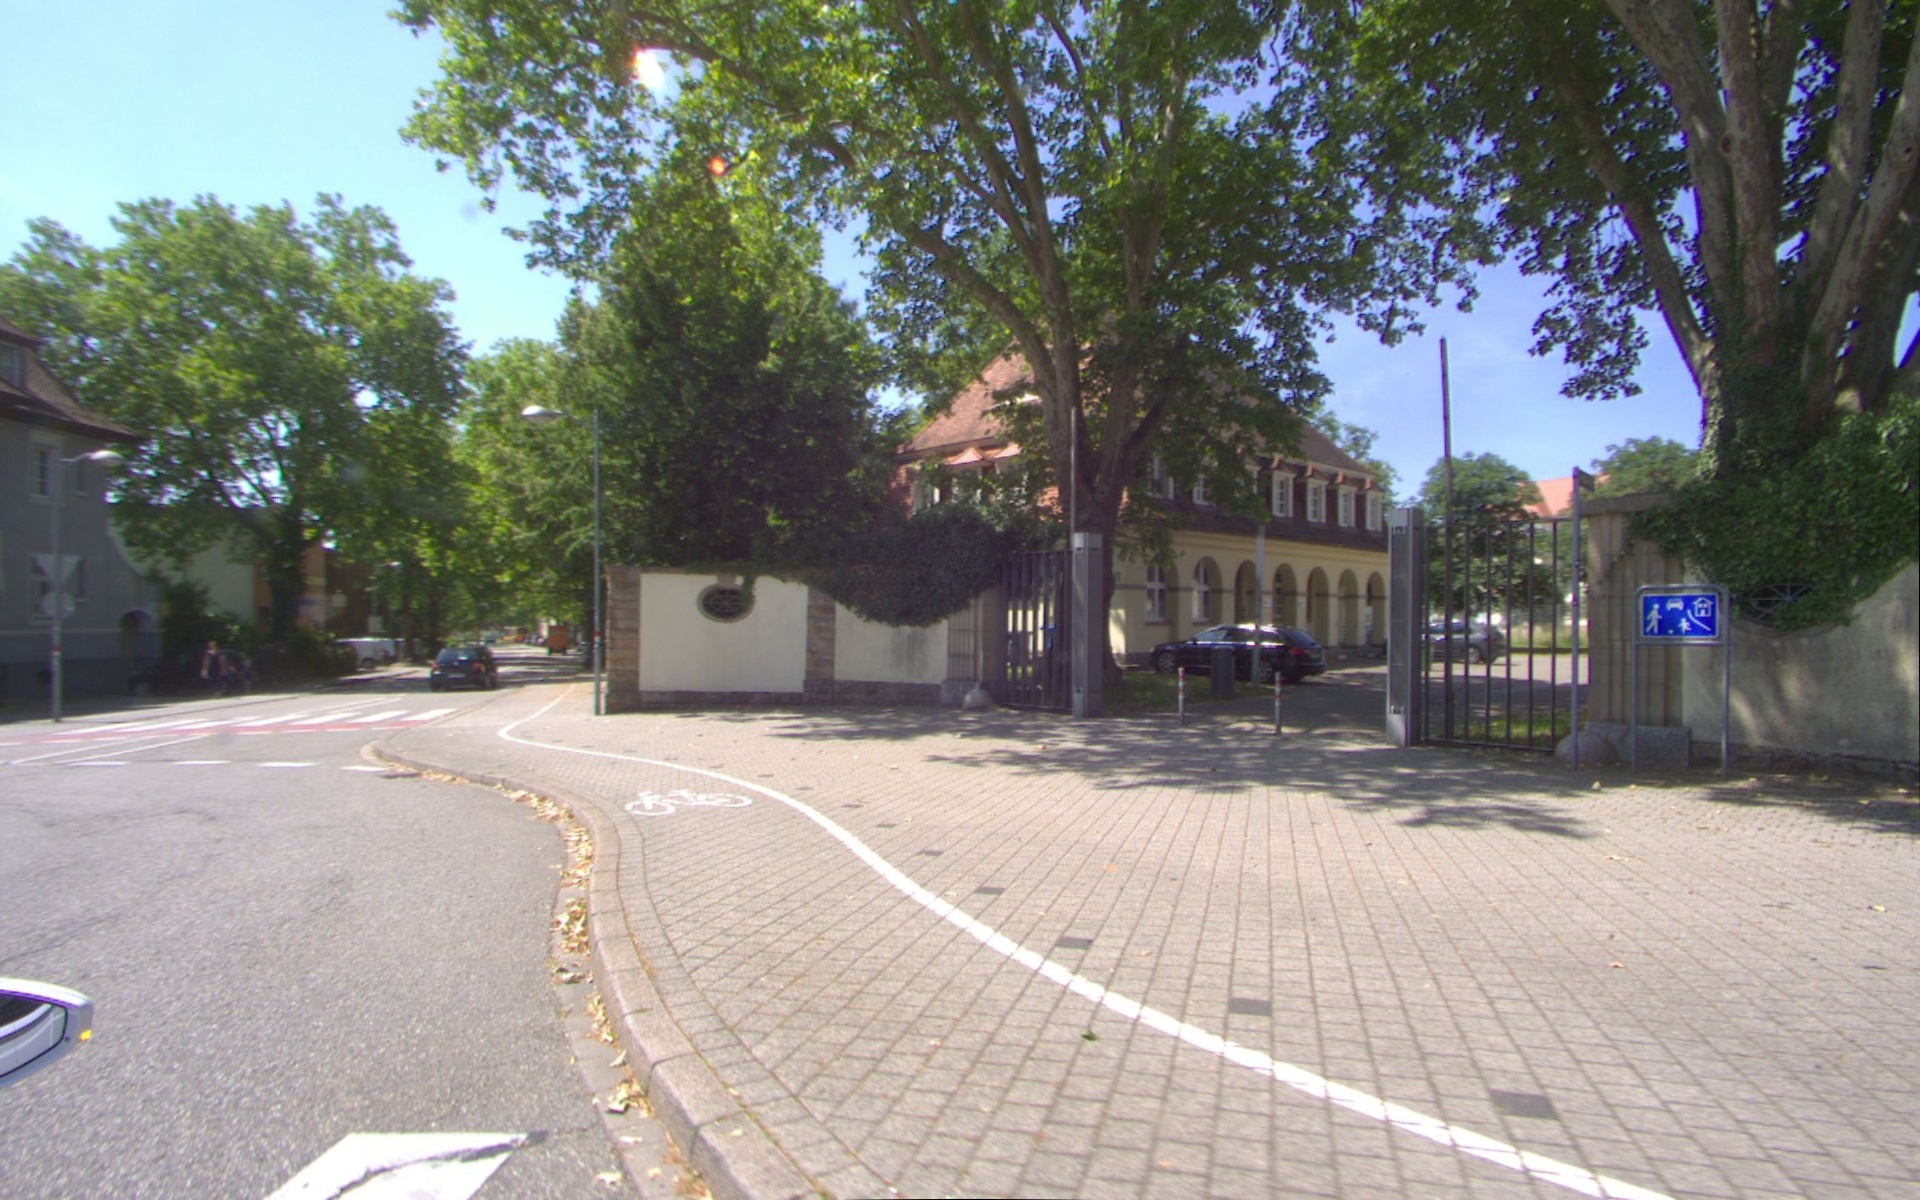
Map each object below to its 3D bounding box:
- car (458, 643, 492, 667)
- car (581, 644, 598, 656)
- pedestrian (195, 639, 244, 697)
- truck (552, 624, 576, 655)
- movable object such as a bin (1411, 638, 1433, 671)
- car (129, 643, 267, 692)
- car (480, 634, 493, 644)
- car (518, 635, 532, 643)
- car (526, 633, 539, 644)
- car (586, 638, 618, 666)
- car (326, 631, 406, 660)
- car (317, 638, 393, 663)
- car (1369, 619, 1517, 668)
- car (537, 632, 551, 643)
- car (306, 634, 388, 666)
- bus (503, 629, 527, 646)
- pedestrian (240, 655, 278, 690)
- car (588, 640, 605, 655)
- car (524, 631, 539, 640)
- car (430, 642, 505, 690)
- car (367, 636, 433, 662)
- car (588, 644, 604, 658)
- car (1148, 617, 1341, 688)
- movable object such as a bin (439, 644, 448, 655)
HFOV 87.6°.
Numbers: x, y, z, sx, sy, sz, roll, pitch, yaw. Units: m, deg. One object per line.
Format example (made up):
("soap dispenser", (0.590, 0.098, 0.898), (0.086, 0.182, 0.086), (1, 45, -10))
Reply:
("car", (-31.113, 3.508, 64.270), (1.746, 1.444, 4.380), (0, -2, -23))
("car", (-46.710, 6.253, 126.283), (1.744, 1.392, 3.718), (-1, -2, -25))
("pedestrian", (-22.993, 2.100, 31.101), (0.859, 1.764, 1.111), (0, -2, -14))
("truck", (-42.496, 4.256, 107.588), (2.338, 3.172, 5.759), (0, -3, -21))
("movable object such as a bin", (14.532, 1.710, 31.485), (0.528, 1.021, 0.527), (-1, -1, 15))
("car", (-26.081, 2.288, 34.375), (3.328, 1.566, 1.724), (0, -2, -10))
("car", (-85.362, 7.091, 180.501), (1.969, 1.686, 3.988), (0, -3, -25))
("car", (-79.642, 7.122, 183.312), (1.748, 1.392, 3.709), (-1, -2, -32))
("car", (-70.773, 6.340, 165.670), (1.856, 1.706, 3.988), (0, -3, -25))
("car", (-22.074, 3.177, 61.849), (1.716, 1.577, 4.770), (-2, -1, -19))
("car", (-39.992, 3.094, 67.560), (4.366, 1.827, 1.898), (2, -3, -23))
("car", (-39.239, 3.303, 65.024), (3.936, 1.534, 1.863), (2, -3, -23))
("car", (17.722, 1.549, 36.901), (1.980, 1.422, 4.455), (1, 2, -43))
("car", (-66.446, 5.950, 159.910), (1.857, 1.706, 3.985), (0, -3, -27))
("car", (-37.283, 3.037, 60.984), (3.936, 1.815, 1.863), (2, -3, -23))
("bus", (-87.480, 7.440, 196.830), (2.636, 3.190, 11.136), (0, -2, -32))
("pedestrian", (-23.946, 2.466, 34.226), (0.742, 1.136, 0.897), (-1, -2, -11))
("car", (-39.001, 5.089, 107.347), (1.556, 1.484, 3.866), (-1, -2, -21))
("car", (-75.502, 6.243, 176.486), (1.748, 1.392, 3.709), (-1, -2, -33))
("car", (-16.803, 2.211, 34.350), (1.686, 1.466, 4.051), (0, -2, -17))
("car", (-42.161, 3.708, 75.482), (4.075, 1.827, 1.898), (2, -3, -23))
("car", (-43.292, 6.046, 119.077), (1.742, 1.484, 3.866), (-1, -2, -21))
("car", (7.348, 1.293, 26.197), (1.980, 1.422, 4.455), (1, 2, -43))
("movable object such as a bin", (-47.715, 4.587, 92.511), (0.614, 1.062, 0.620), (0, -1, -14))
